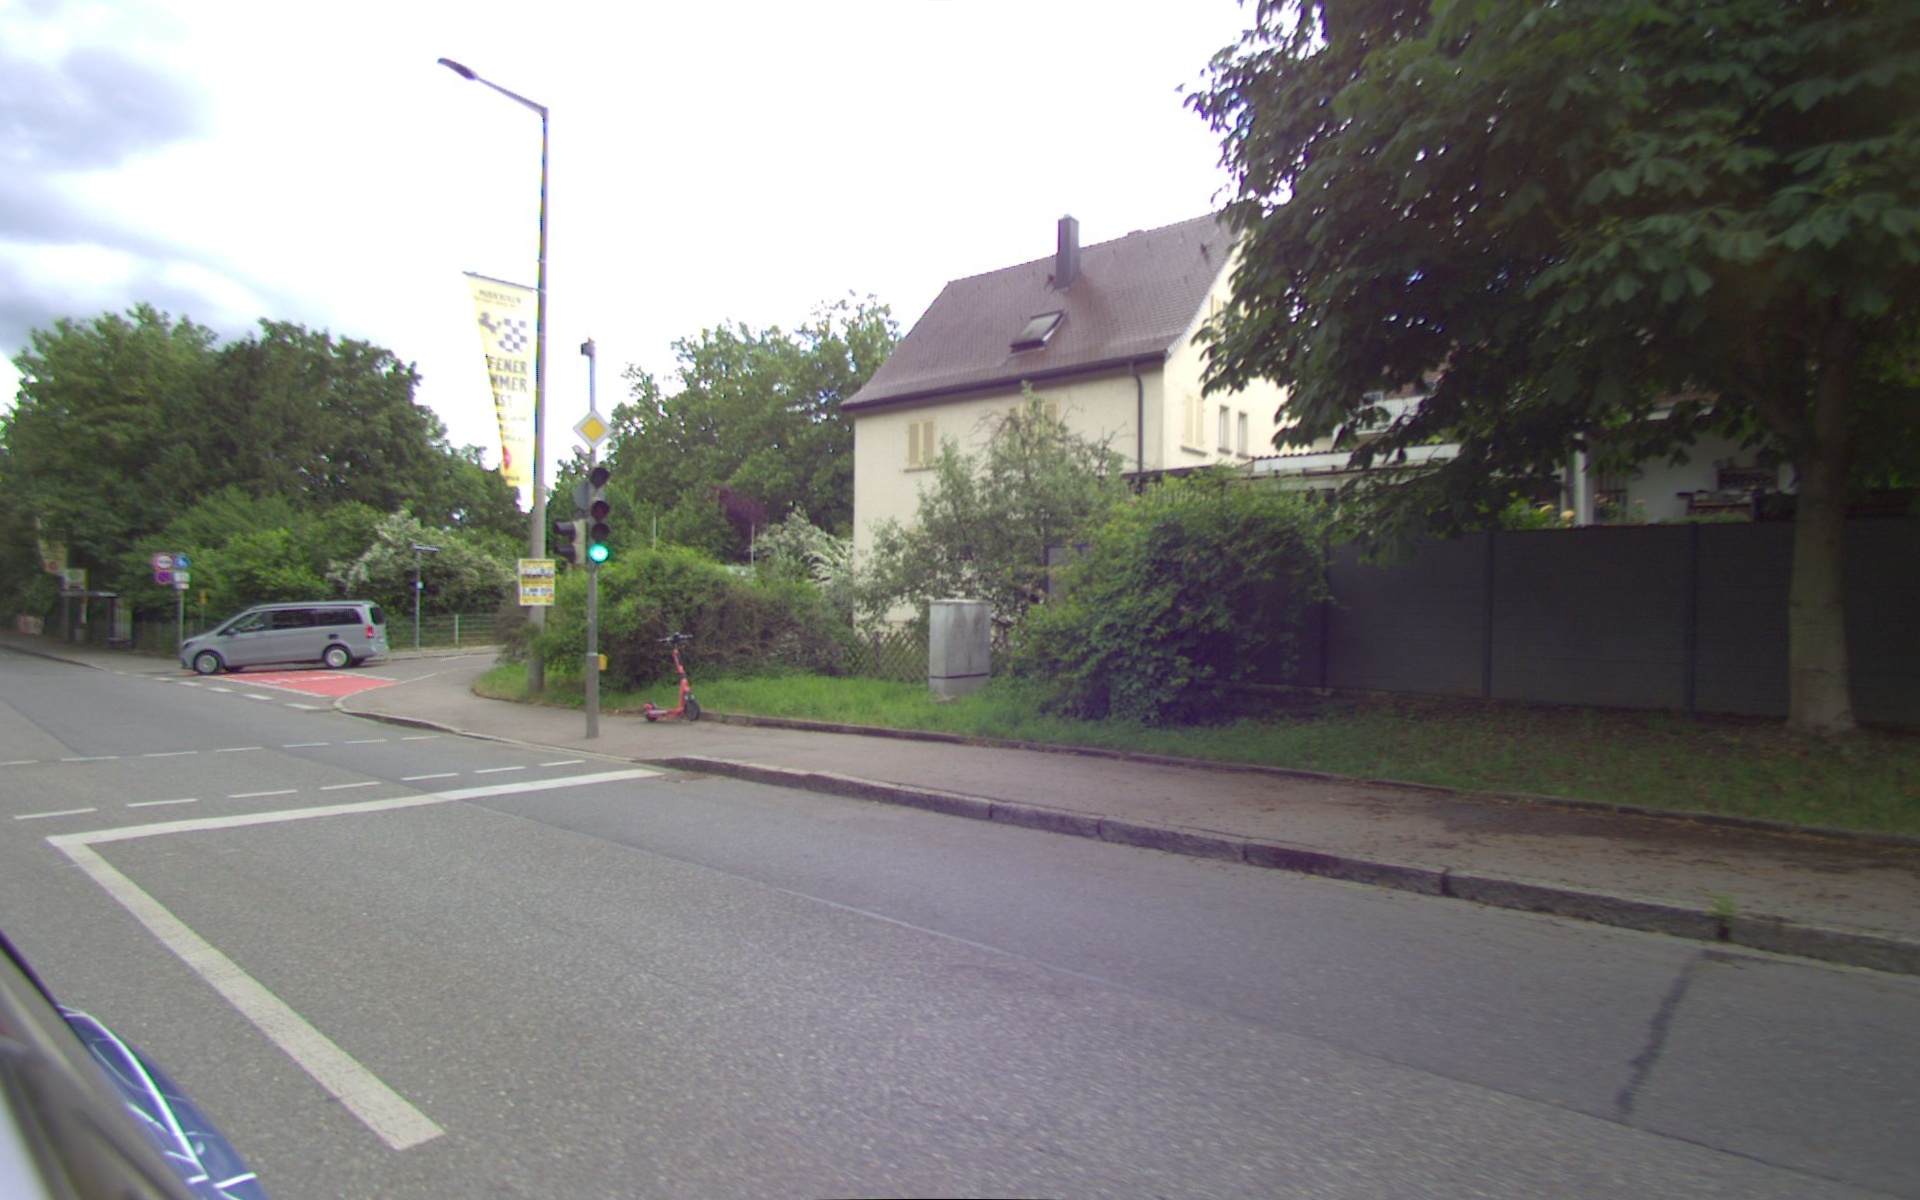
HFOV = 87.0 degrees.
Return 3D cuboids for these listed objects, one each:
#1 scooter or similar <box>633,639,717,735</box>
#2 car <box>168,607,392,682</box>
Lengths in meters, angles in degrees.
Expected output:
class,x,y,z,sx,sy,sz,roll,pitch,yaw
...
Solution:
class,x,y,z,sx,sy,sz,roll,pitch,yaw
scooter or similar,-4.070,1.204,14.388,1.426,1.268,0.457,-1,-1,42
car,-19.686,1.244,29.575,5.067,1.942,1.958,-1,0,-18
